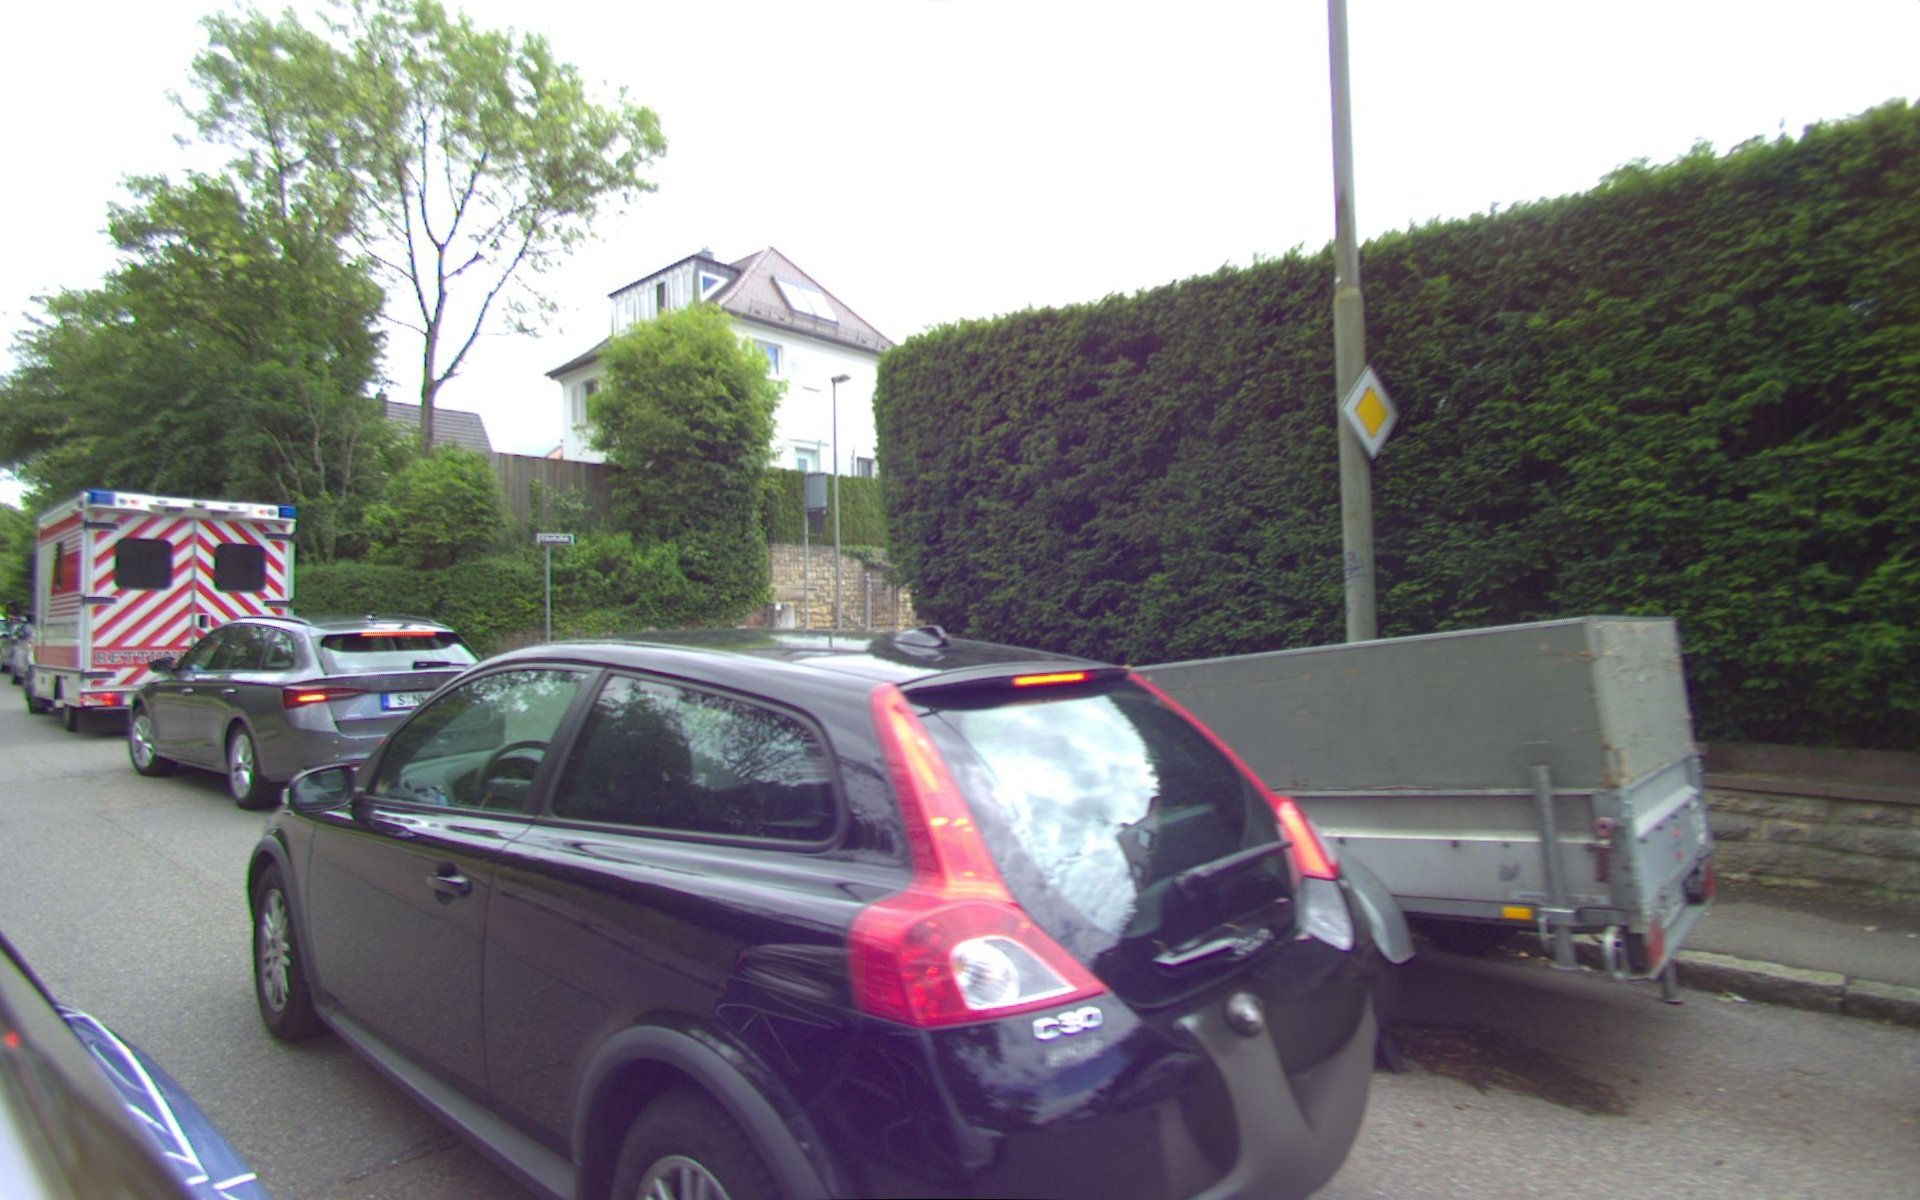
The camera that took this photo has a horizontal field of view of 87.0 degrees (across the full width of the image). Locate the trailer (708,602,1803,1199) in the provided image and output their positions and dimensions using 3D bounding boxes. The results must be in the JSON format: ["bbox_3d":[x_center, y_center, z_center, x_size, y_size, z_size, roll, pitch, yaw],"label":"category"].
[{"bbox_3d":[0.881,0.802,4.598,4.472,1.507,1.744,-1,-2,42],"label":"trailer"}]

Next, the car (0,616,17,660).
[{"bbox_3d":[-35.899,1.352,36.632,4.598,1.574,1.897,-1,-3,39],"label":"car"}]

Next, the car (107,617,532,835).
[{"bbox_3d":[-5.749,0.887,8.859,4.467,1.457,1.746,-1,-2,38],"label":"car"}]

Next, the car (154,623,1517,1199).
[{"bbox_3d":[-0.933,0.809,3.206,4.471,1.457,1.745,-1,-2,41],"label":"car"}]

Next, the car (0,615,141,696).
[{"bbox_3d":[-18.938,1.111,21.419,4.863,1.516,1.778,-1,-3,43],"label":"car"}]

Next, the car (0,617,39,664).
[{"bbox_3d":[-32.364,1.341,33.832,3.812,1.516,1.703,-1,-3,39],"label":"car"}]

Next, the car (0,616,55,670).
[{"bbox_3d":[-28.013,1.233,29.675,4.006,1.516,1.702,-1,-3,41],"label":"car"}]

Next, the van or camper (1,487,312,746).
[{"bbox_3d":[-11.924,0.241,14.729,7.167,2.917,2.429,-1,-1,43],"label":"van or camper"}]

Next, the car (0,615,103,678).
[{"bbox_3d":[-23.867,1.183,26.353,4.057,1.516,1.702,-1,-3,41],"label":"car"}]
